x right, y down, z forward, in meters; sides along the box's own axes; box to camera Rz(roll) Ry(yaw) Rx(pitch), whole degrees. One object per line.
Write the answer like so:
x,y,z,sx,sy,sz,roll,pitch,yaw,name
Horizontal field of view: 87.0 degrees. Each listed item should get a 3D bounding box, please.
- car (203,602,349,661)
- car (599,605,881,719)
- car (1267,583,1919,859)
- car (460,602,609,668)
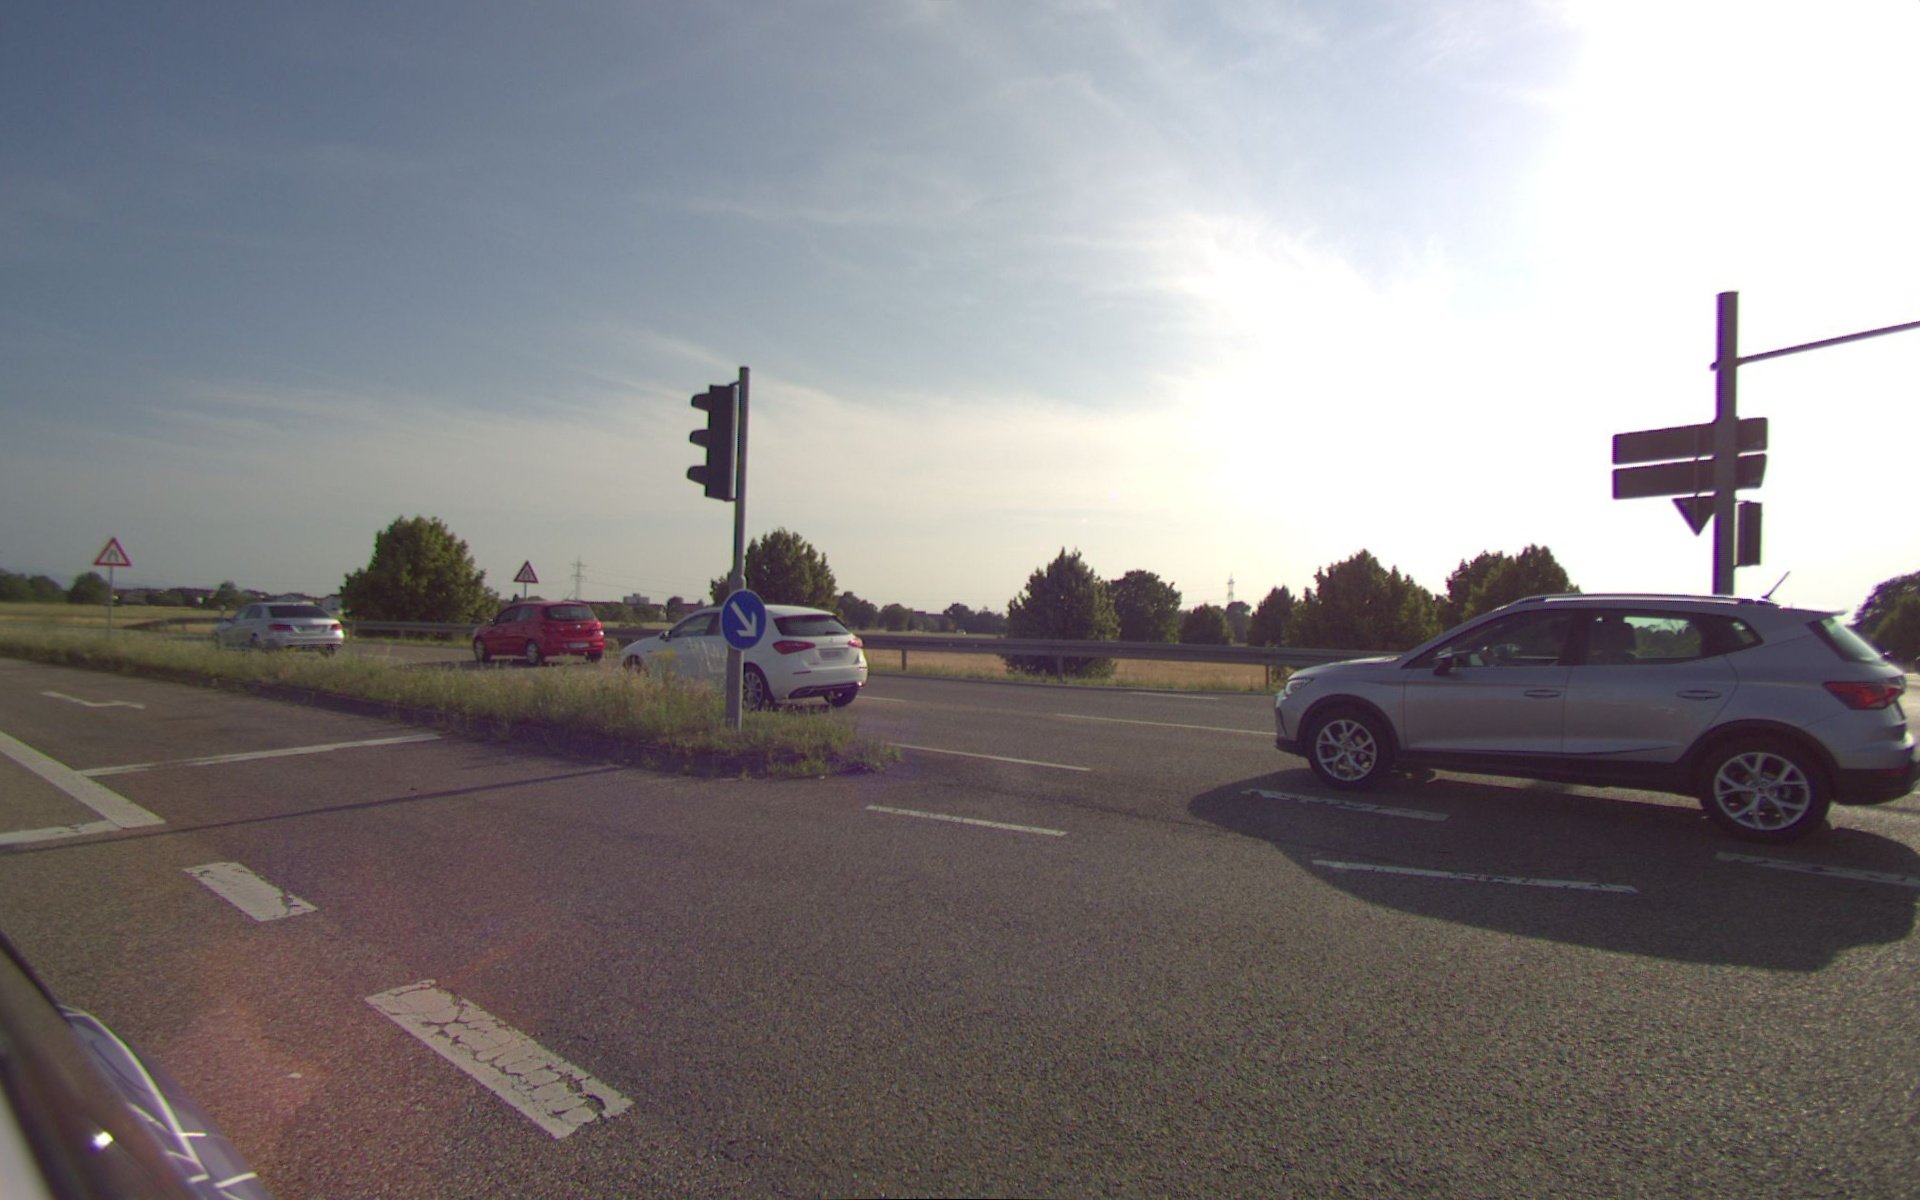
-18.296,0.795,26.997,4.695,1.446,1.908,0,-1,39,car
-3.304,0.802,14.750,4.391,1.424,1.712,0,-1,40,car
4.556,0.691,7.462,4.090,1.535,1.668,0,-1,41,car
-10.348,0.803,24.494,4.019,1.478,1.644,0,-1,39,car
